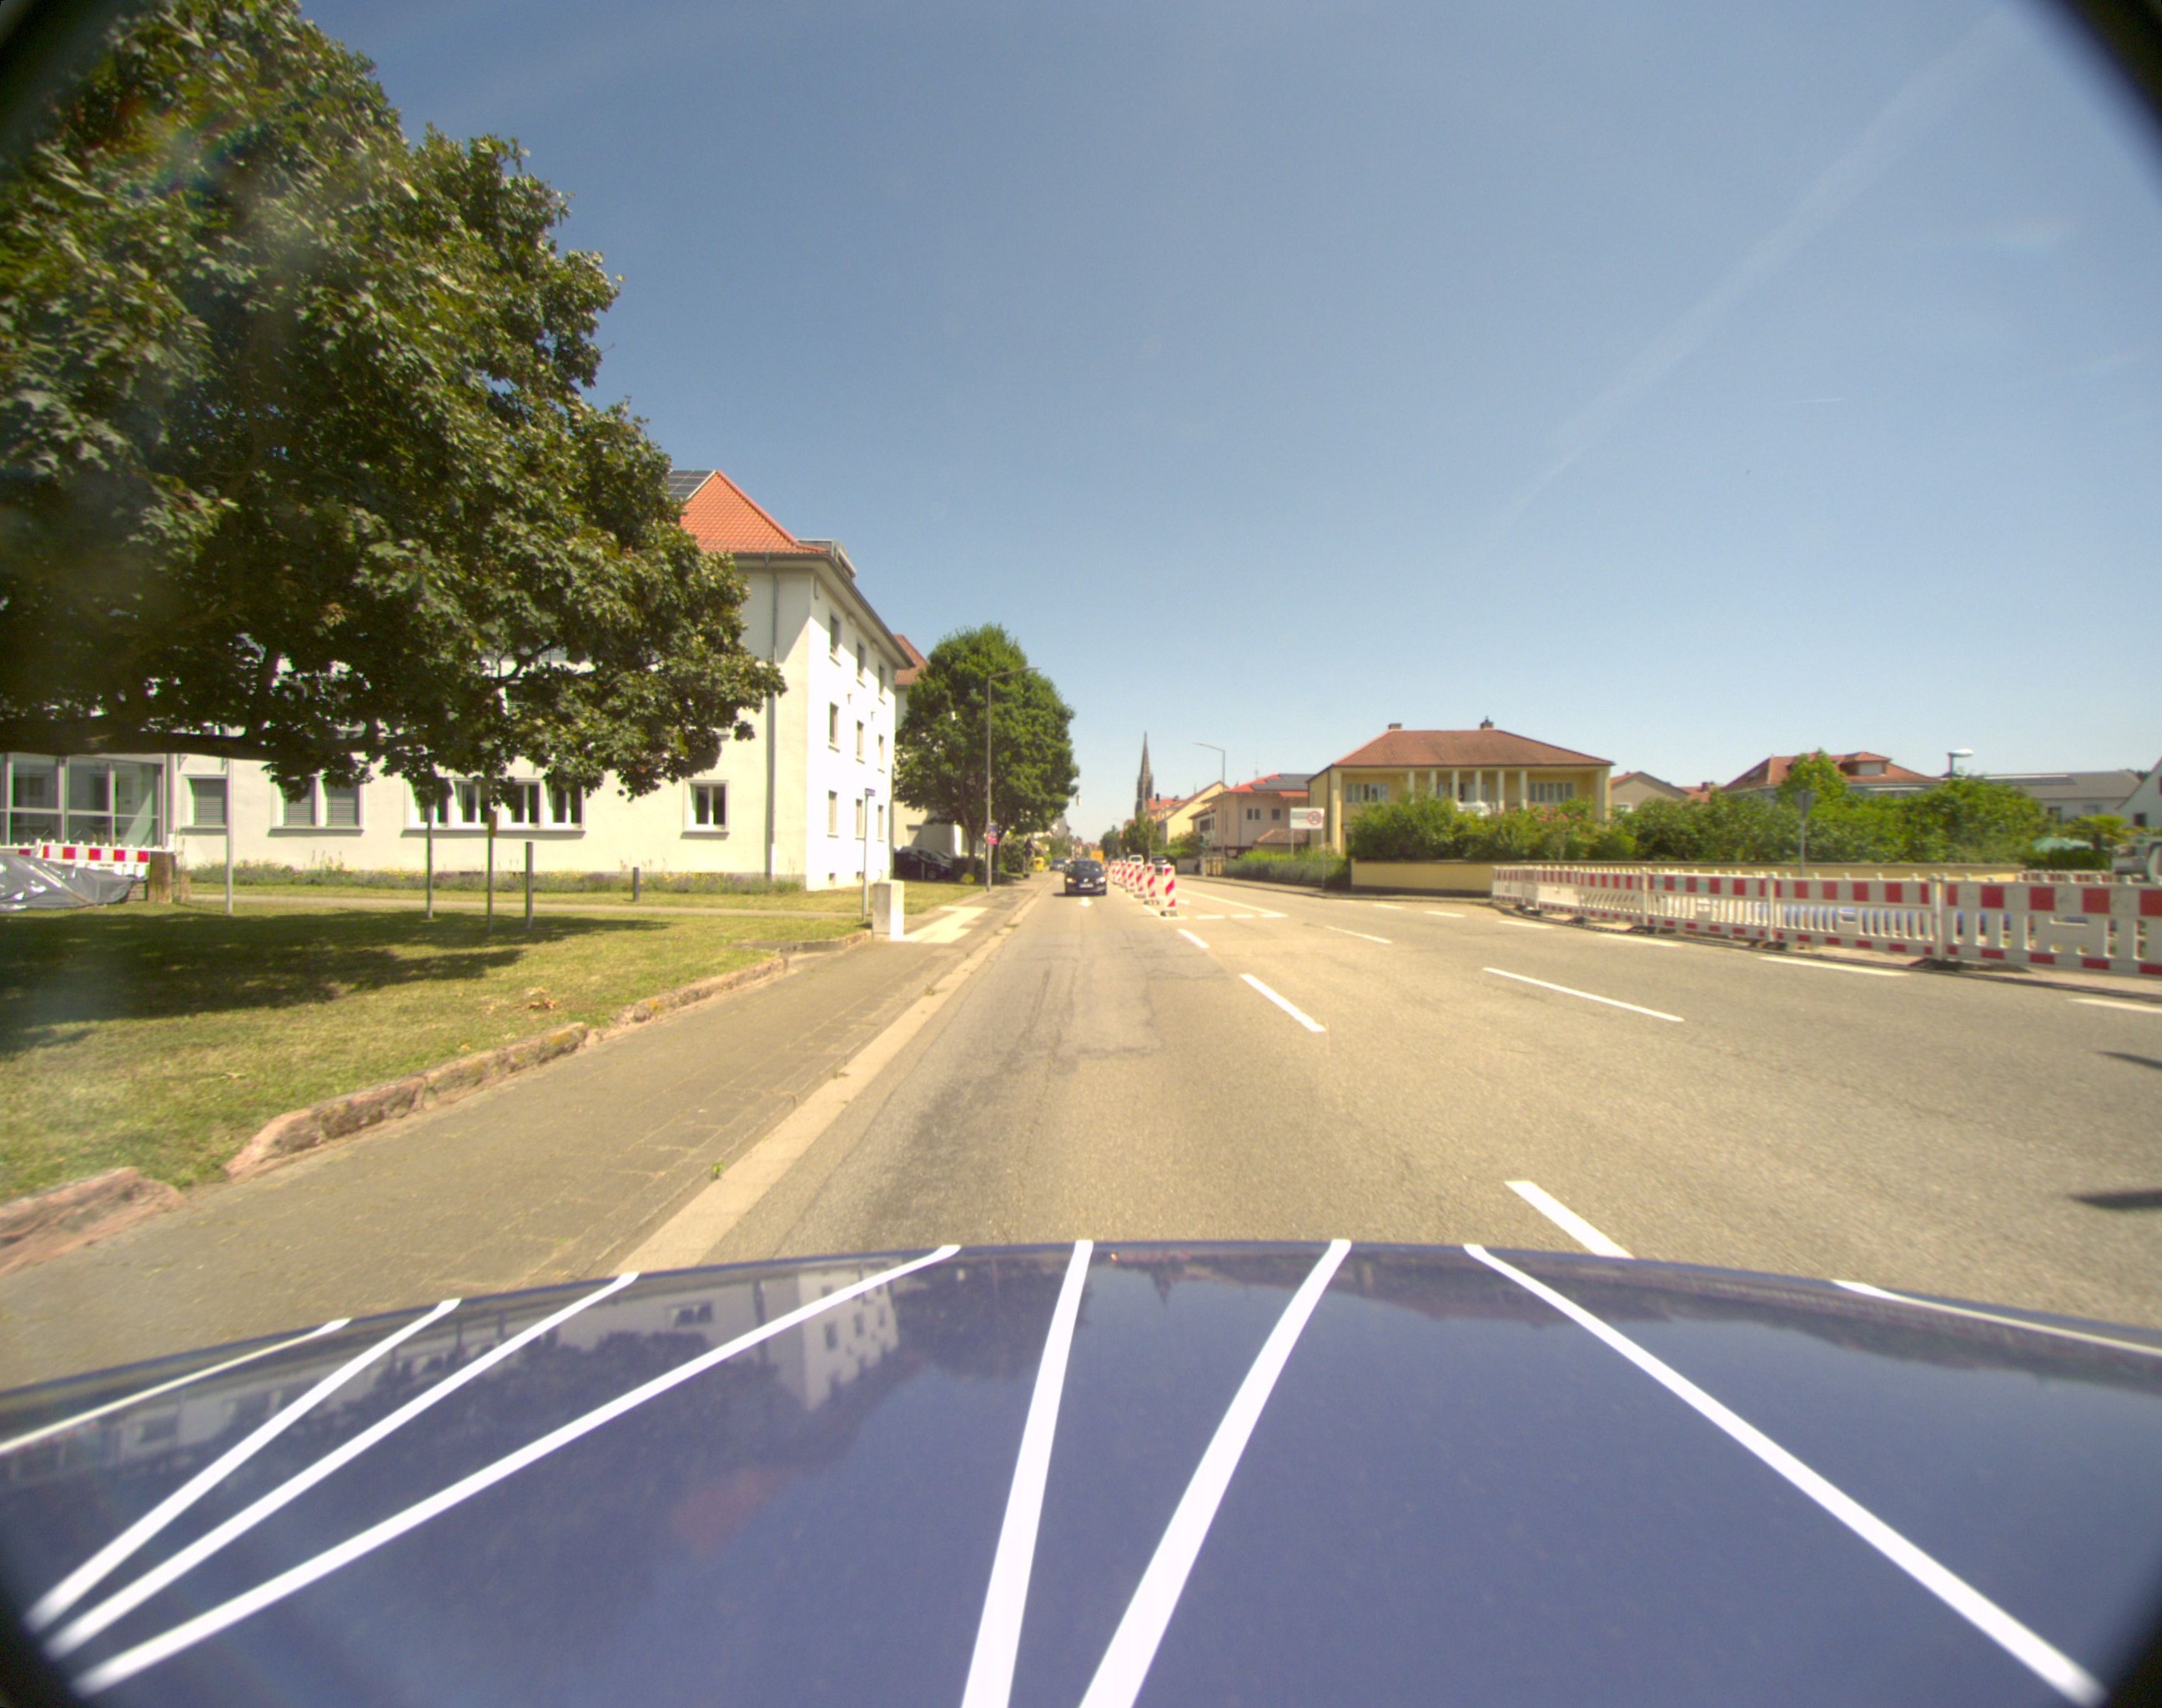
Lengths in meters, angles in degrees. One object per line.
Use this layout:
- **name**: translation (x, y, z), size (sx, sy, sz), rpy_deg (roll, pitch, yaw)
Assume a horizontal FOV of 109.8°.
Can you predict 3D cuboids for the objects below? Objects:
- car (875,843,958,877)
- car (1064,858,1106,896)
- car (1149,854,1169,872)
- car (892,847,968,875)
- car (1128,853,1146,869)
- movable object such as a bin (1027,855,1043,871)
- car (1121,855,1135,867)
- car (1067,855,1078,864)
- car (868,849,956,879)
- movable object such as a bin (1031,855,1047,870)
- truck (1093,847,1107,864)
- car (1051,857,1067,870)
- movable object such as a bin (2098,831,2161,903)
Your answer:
- **car**: translation (-9.529, 0.329, 44.216), size (4.367, 1.776, 1.999), rpy_deg (2, 0, -3)
- **car**: translation (0.203, 0.904, 31.213), size (1.607, 1.436, 3.909), rpy_deg (-1, 0, 2)
- **car**: translation (7.019, 0.804, 68.815), size (1.390, 1.568, 3.320), rpy_deg (1, 0, -1)
- **car**: translation (-9.414, 0.438, 47.537), size (4.367, 1.517, 1.999), rpy_deg (2, 0, -3)
- **car**: translation (6.516, 0.769, 88.833), size (1.718, 1.776, 3.889), rpy_deg (1, 0, -2)
- **movable object such as a bin**: translation (-4.574, 0.870, 74.921), size (1.499, 1.472, 1.422), rpy_deg (1, 0, -2)
- **car**: translation (6.592, 1.009, 106.811), size (1.625, 1.595, 3.513), rpy_deg (1, 0, -2)
- **car**: translation (-1.455, 0.888, 126.415), size (1.712, 1.449, 3.562), rpy_deg (1, 0, -4)
- **car**: translation (-9.151, 0.534, 41.438), size (4.367, 1.427, 1.999), rpy_deg (2, 0, -3)
- **movable object such as a bin**: translation (-4.235, 0.872, 76.487), size (1.499, 1.472, 1.422), rpy_deg (1, 0, -2)
- **truck**: translation (3.472, 0.301, 137.309), size (2.222, 2.920, 5.350), rpy_deg (1, 0, -1)
- **car**: translation (-2.427, 1.065, 84.691), size (1.607, 1.403, 3.909), rpy_deg (-1, 0, 0)
- **movable object such as a bin**: translation (41.989, 0.500, 28.800), size (2.272, 2.719, 3.937), rpy_deg (1, 0, 20)
